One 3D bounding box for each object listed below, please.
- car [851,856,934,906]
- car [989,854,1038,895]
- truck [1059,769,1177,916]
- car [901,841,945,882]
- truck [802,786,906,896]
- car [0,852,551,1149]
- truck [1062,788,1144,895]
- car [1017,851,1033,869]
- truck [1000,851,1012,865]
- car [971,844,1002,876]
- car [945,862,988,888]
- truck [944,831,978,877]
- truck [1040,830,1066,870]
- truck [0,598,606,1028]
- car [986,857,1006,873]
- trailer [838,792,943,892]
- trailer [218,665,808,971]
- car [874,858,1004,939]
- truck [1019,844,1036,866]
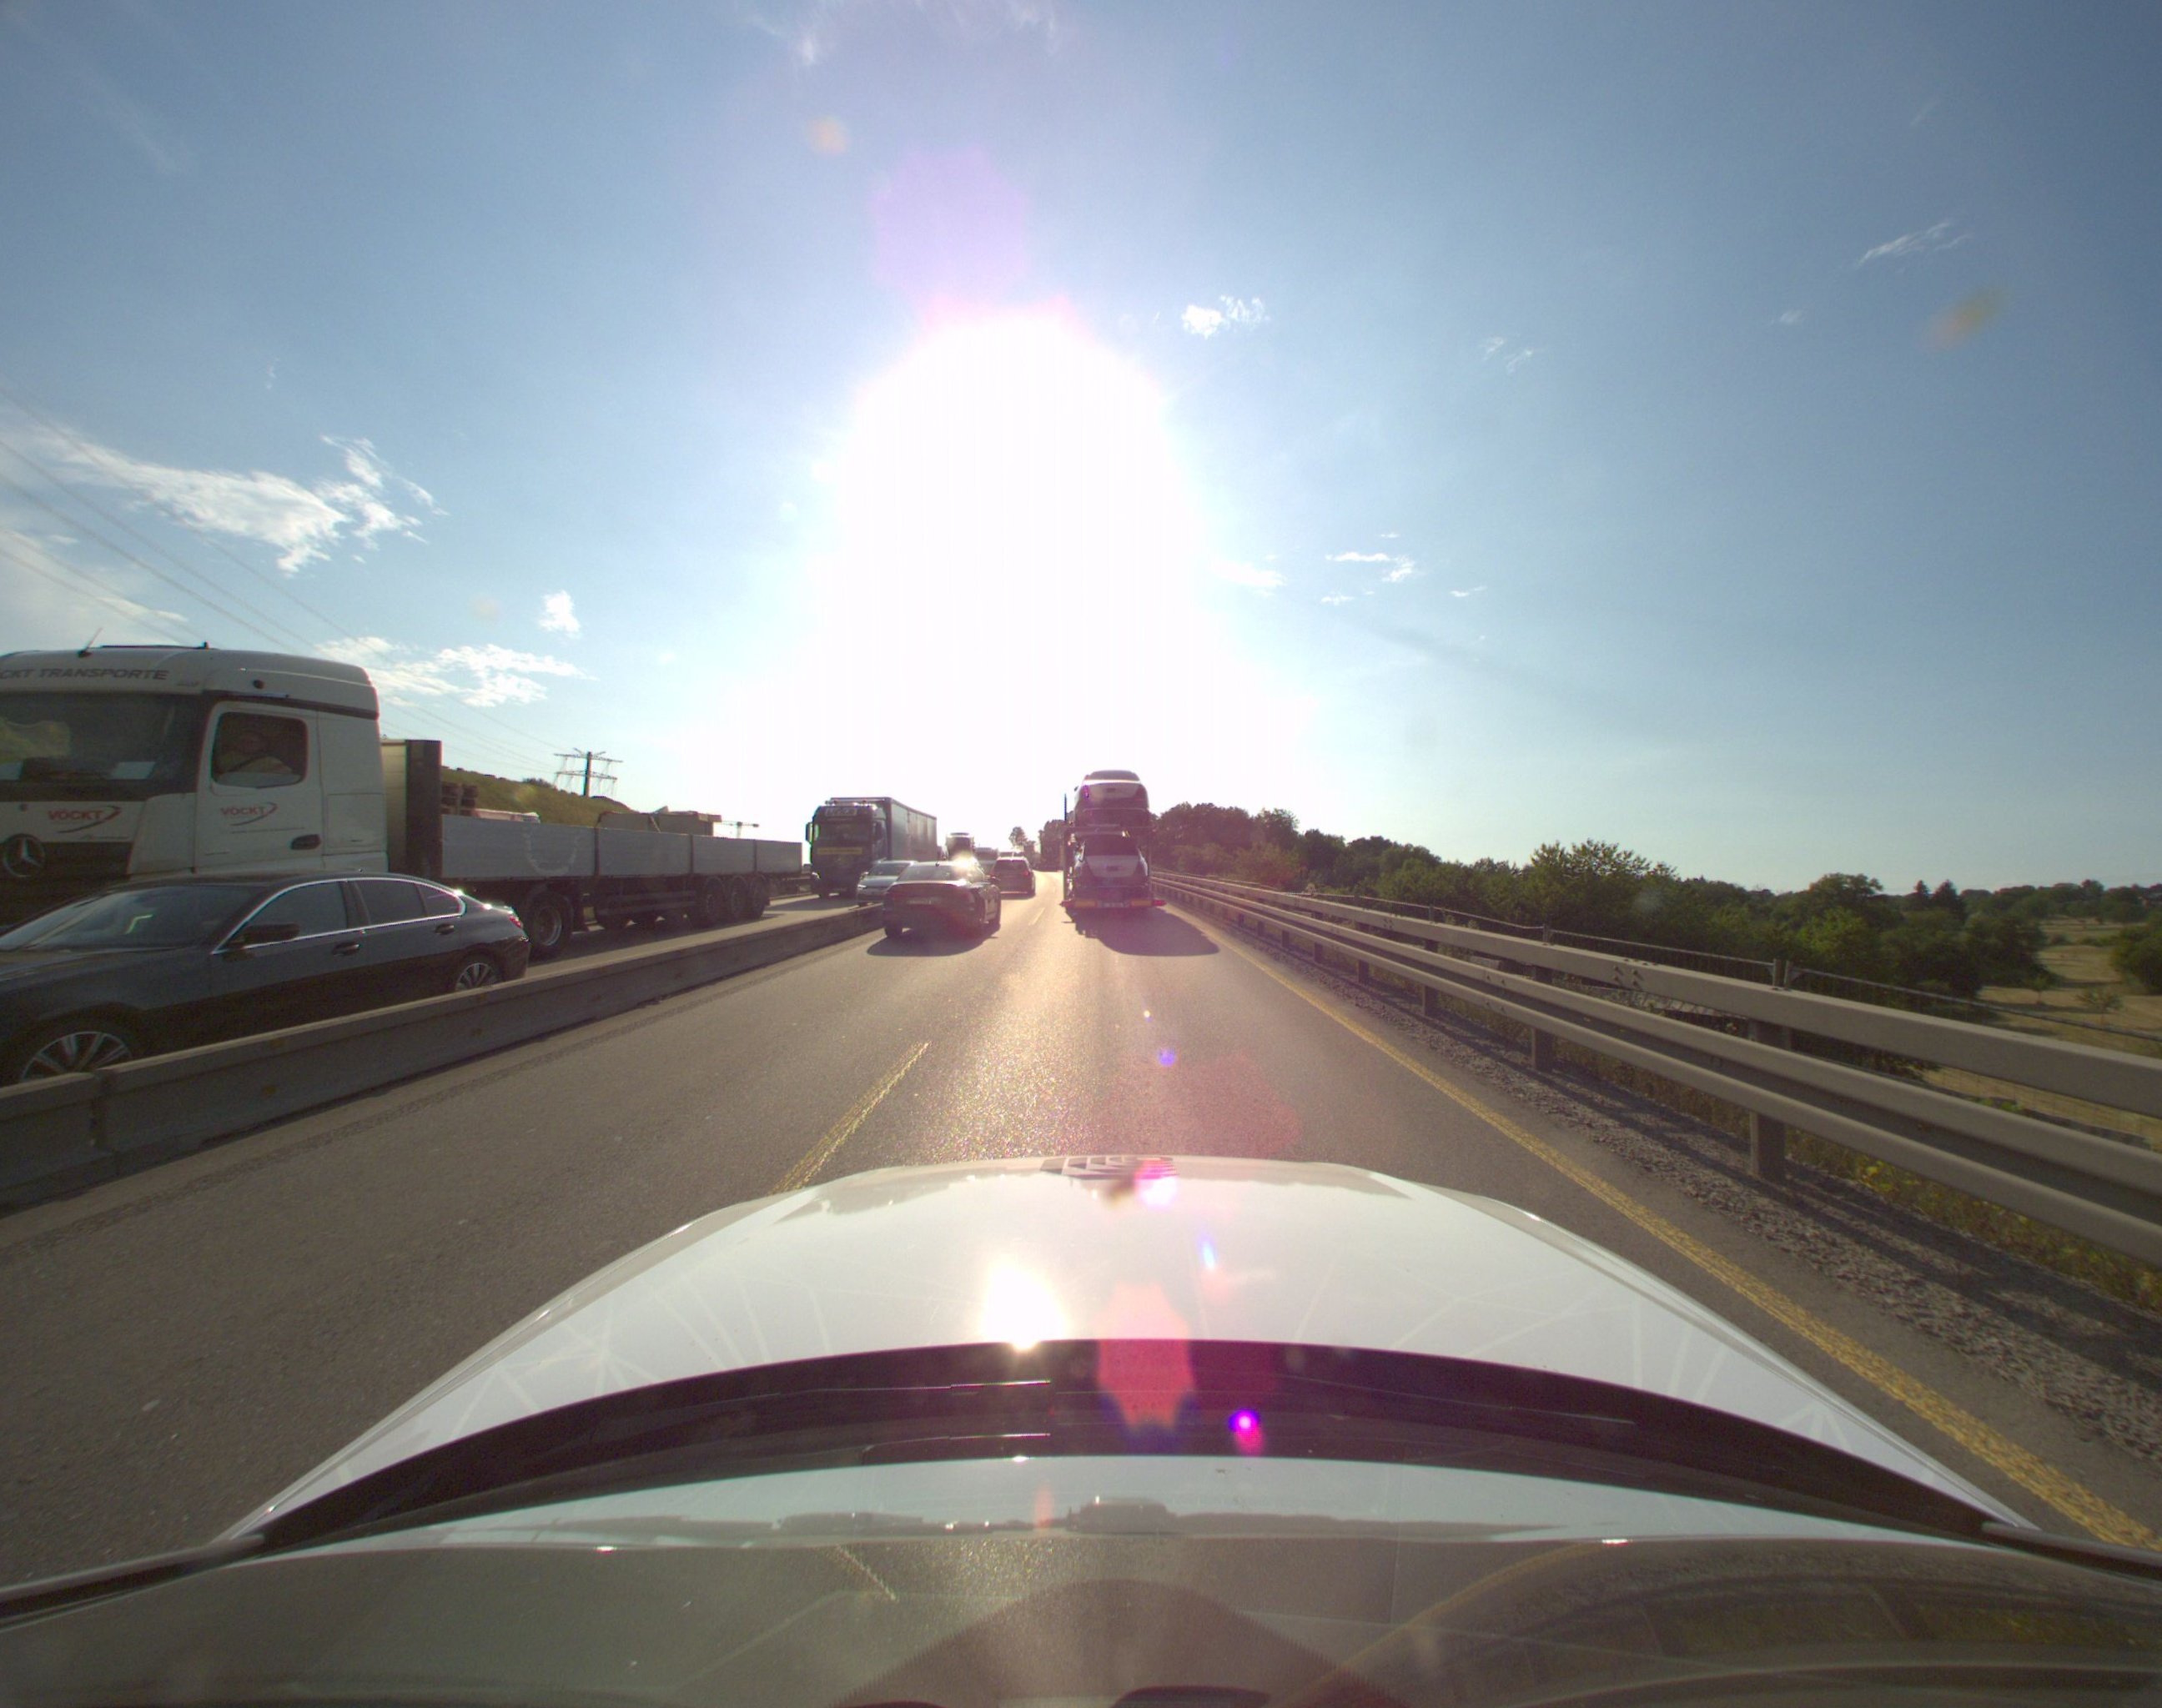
[{"bbox_3d":[-6.105,0.827,26.865,1.754,1.508,4.253,-1,0,-1],"label":"car"},{"bbox_3d":[-2.759,0.806,33.977,1.686,1.596,3.999,-1,0,0],"label":"car"},{"bbox_3d":[0.829,-0.238,24.750,2.791,3.497,10.601,-1,0,-1],"label":"truck"},{"bbox_3d":[-10.435,0.521,54.164,2.153,2.557,5.582,-1,0,-3],"label":"car"},{"bbox_3d":[-9.120,-0.471,33.383,2.494,4.065,5.667,-1,-1,2],"label":"truck"},{"bbox_3d":[-6.362,0.770,6.059,1.787,1.511,4.586,-1,0,1],"label":"car"},{"bbox_3d":[0.692,-0.417,34.155,2.830,3.792,9.979,-1,0,-2],"label":"truck"},{"bbox_3d":[-7.706,0.831,112.767,1.916,2.492,5.404,-1,0,-2],"label":"car"},{"bbox_3d":[-17.625,0.992,190.498,2.585,3.170,6.667,-1,0,-4],"label":"truck"},{"bbox_3d":[-7.656,0.498,66.435,2.052,2.500,6.767,-1,0,-3],"label":"car"},{"bbox_3d":[-6.399,1.132,45.870,1.753,1.378,4.766,-1,0,0],"label":"car"},{"bbox_3d":[-11.007,0.049,75.172,2.498,4.065,5.876,-1,-1,-4],"label":"truck"},{"bbox_3d":[-3.761,-0.490,110.355,3.277,5.237,9.927,-1,-1,-2],"label":"truck"},{"bbox_3d":[-9.326,-0.335,10.397,2.592,3.754,6.518,-1,-1,1],"label":"truck"},{"bbox_3d":[-9.205,1.201,88.430,1.866,1.694,4.591,-1,0,-3],"label":"car"},{"bbox_3d":[-9.116,-0.440,41.051,2.301,4.130,14.589,-1,0,-2],"label":"trailer"},{"bbox_3d":[-9.293,-0.396,16.956,2.512,3.725,13.974,-1,0,0],"label":"trailer"},{"bbox_3d":[-2.781,0.811,17.095,1.929,1.399,4.958,0,0,-1],"label":"car"},{"bbox_3d":[-9.252,0.176,141.605,2.524,3.648,8.898,-1,0,-2],"label":"truck"}]
